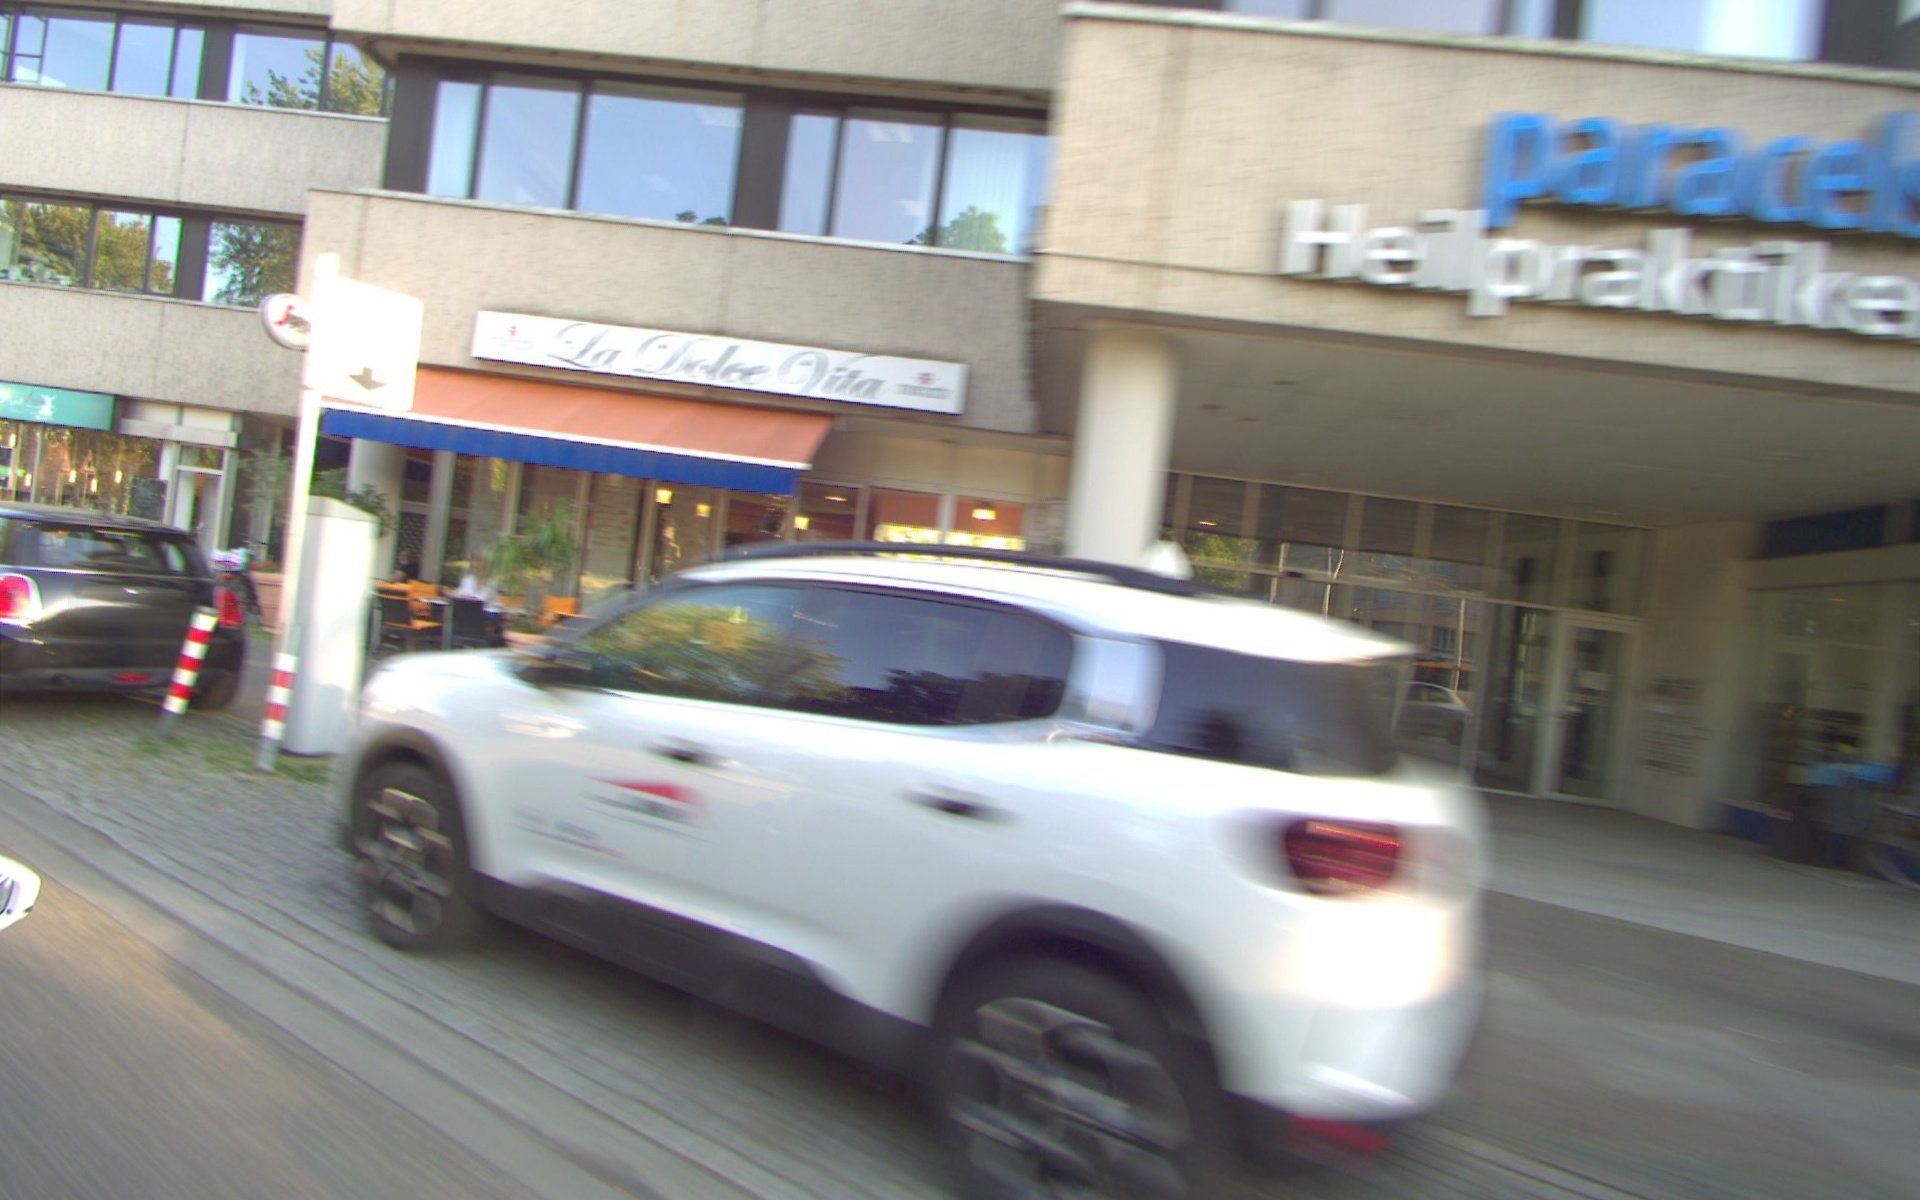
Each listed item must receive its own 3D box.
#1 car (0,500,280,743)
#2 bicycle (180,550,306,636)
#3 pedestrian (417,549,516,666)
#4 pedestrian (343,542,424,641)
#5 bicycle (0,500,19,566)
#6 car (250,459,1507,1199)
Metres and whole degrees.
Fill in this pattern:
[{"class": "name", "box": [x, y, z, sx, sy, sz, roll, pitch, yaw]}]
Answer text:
[{"class": "car", "box": [-7.324, 0.015, 7.862, 3.856, 1.525, 1.794, 7, -2, 32]}, {"class": "bicycle", "box": [-9.455, -0.100, 13.348, 0.450, 1.018, 1.888, 6, 1, -7]}, {"class": "pedestrian", "box": [-6.059, 0.106, 12.389, 0.697, 1.312, 0.763, 8, -1, -3]}, {"class": "pedestrian", "box": [-8.075, -0.111, 14.105, 0.528, 1.294, 0.705, 7, 1, 31]}, {"class": "bicycle", "box": [-19.835, -1.400, 19.975, 1.636, 1.293, 0.414, 4, 0, -12]}, {"class": "car", "box": [-0.484, 0.645, 3.825, 4.326, 1.825, 1.788, 7, -2, 30]}]
